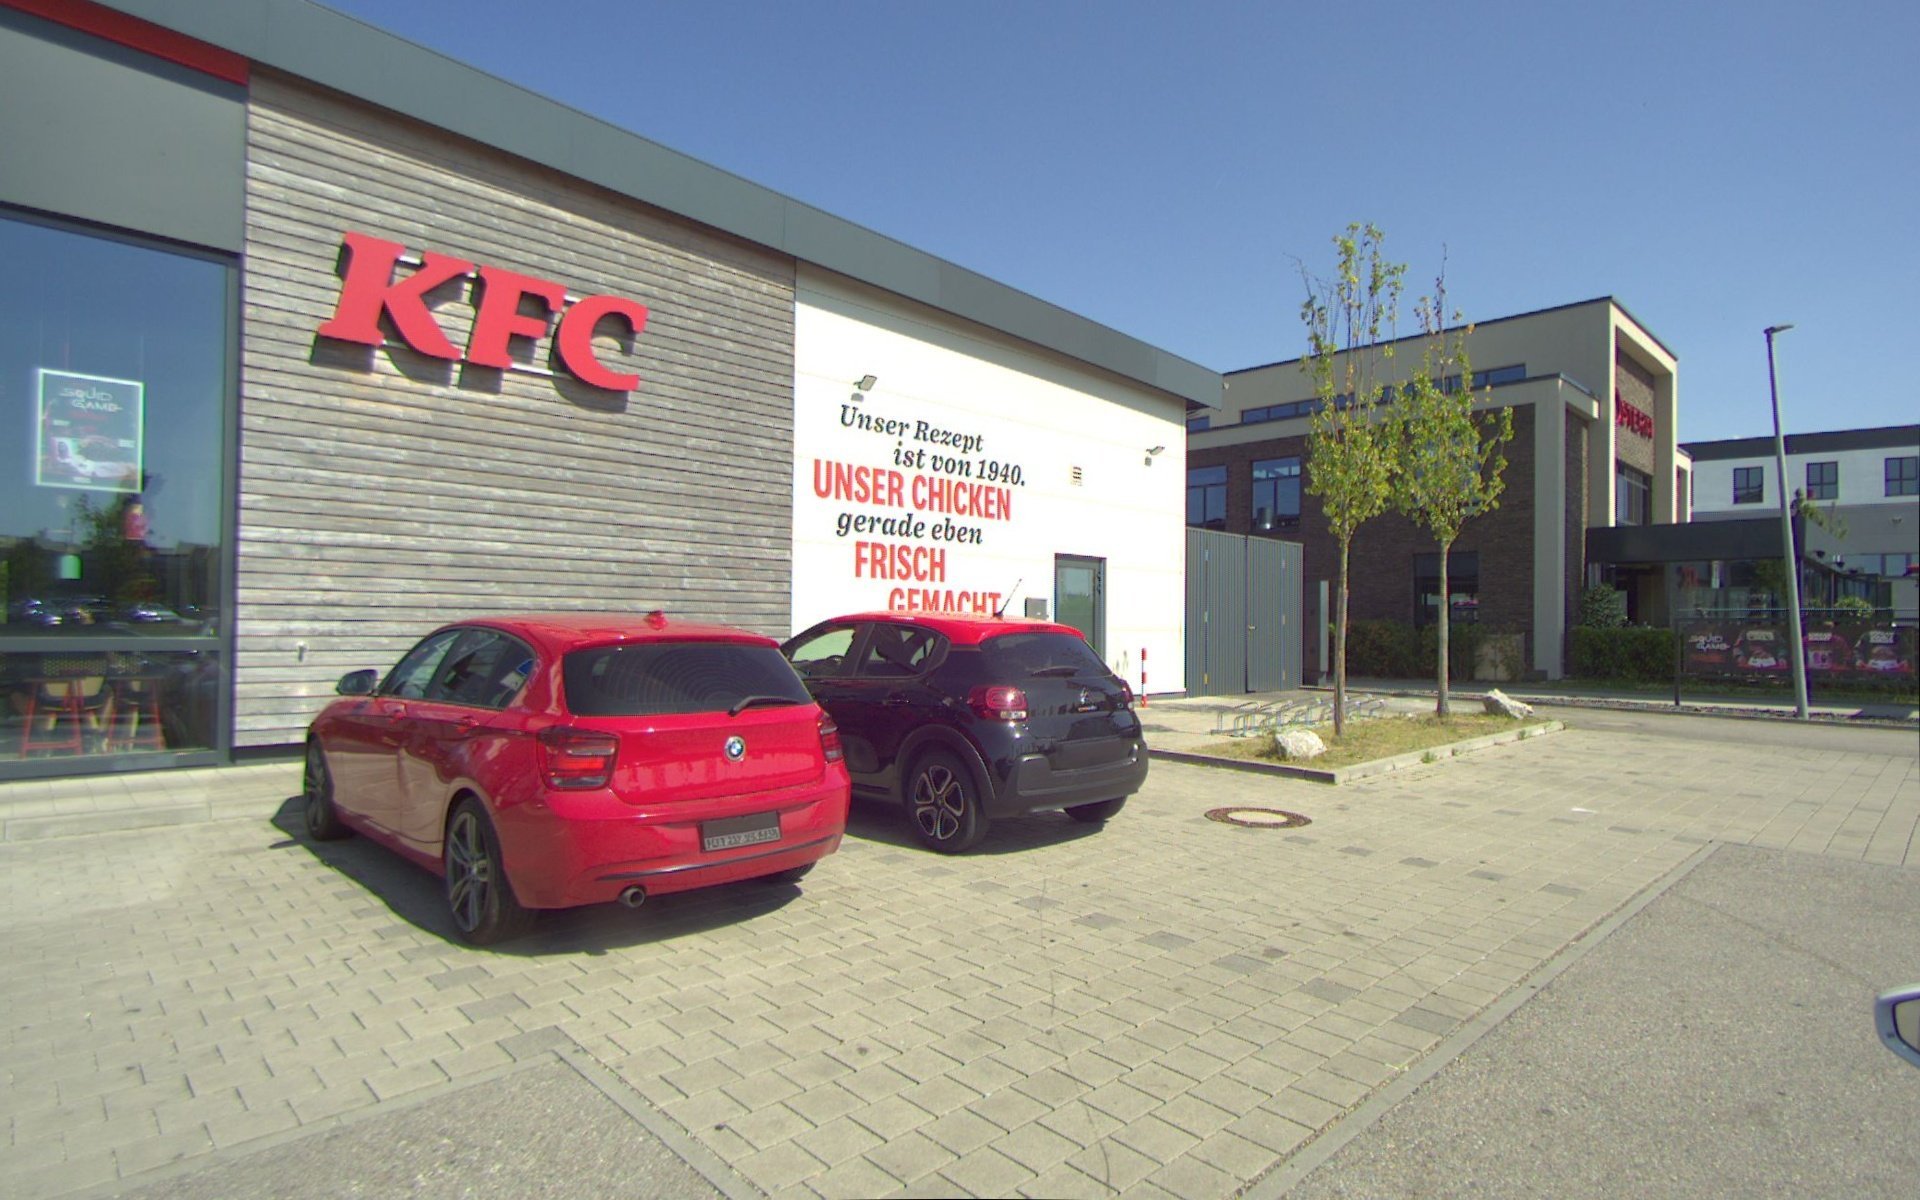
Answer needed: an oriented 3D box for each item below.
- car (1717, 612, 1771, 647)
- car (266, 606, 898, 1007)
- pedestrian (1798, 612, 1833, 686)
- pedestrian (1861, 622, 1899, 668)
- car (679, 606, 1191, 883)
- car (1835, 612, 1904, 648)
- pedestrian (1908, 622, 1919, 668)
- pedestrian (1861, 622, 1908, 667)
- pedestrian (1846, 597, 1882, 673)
[{"bbox_3d":[36.350,1.338,46.631,1.708,1.588,3.939,-1,-1,34],"label":"car"},{"bbox_3d":[-2.457,0.774,5.803,4.341,1.432,1.730,0,-1,44],"label":"car"},{"bbox_3d":[17.874,1.006,20.983,0.518,1.525,0.566,-1,-1,43],"label":"pedestrian"},{"bbox_3d":[24.496,1.184,26.756,0.699,1.214,0.665,-1,-1,39],"label":"pedestrian"},{"bbox_3d":[-0.386,0.829,7.606,1.729,1.526,3.857,1,-1,-44],"label":"car"},{"bbox_3d":[40.050,1.278,44.301,1.708,1.507,3.939,-1,-1,34],"label":"car"},{"bbox_3d":[25.821,1.209,26.763,0.610,1.214,0.703,0,-1,-36],"label":"pedestrian"},{"bbox_3d":[25.257,1.214,27.444,0.606,1.214,0.708,0,-1,-14],"label":"pedestrian"},{"bbox_3d":[18.315,0.702,20.353,0.518,1.525,0.566,-1,-1,43],"label":"pedestrian"}]
